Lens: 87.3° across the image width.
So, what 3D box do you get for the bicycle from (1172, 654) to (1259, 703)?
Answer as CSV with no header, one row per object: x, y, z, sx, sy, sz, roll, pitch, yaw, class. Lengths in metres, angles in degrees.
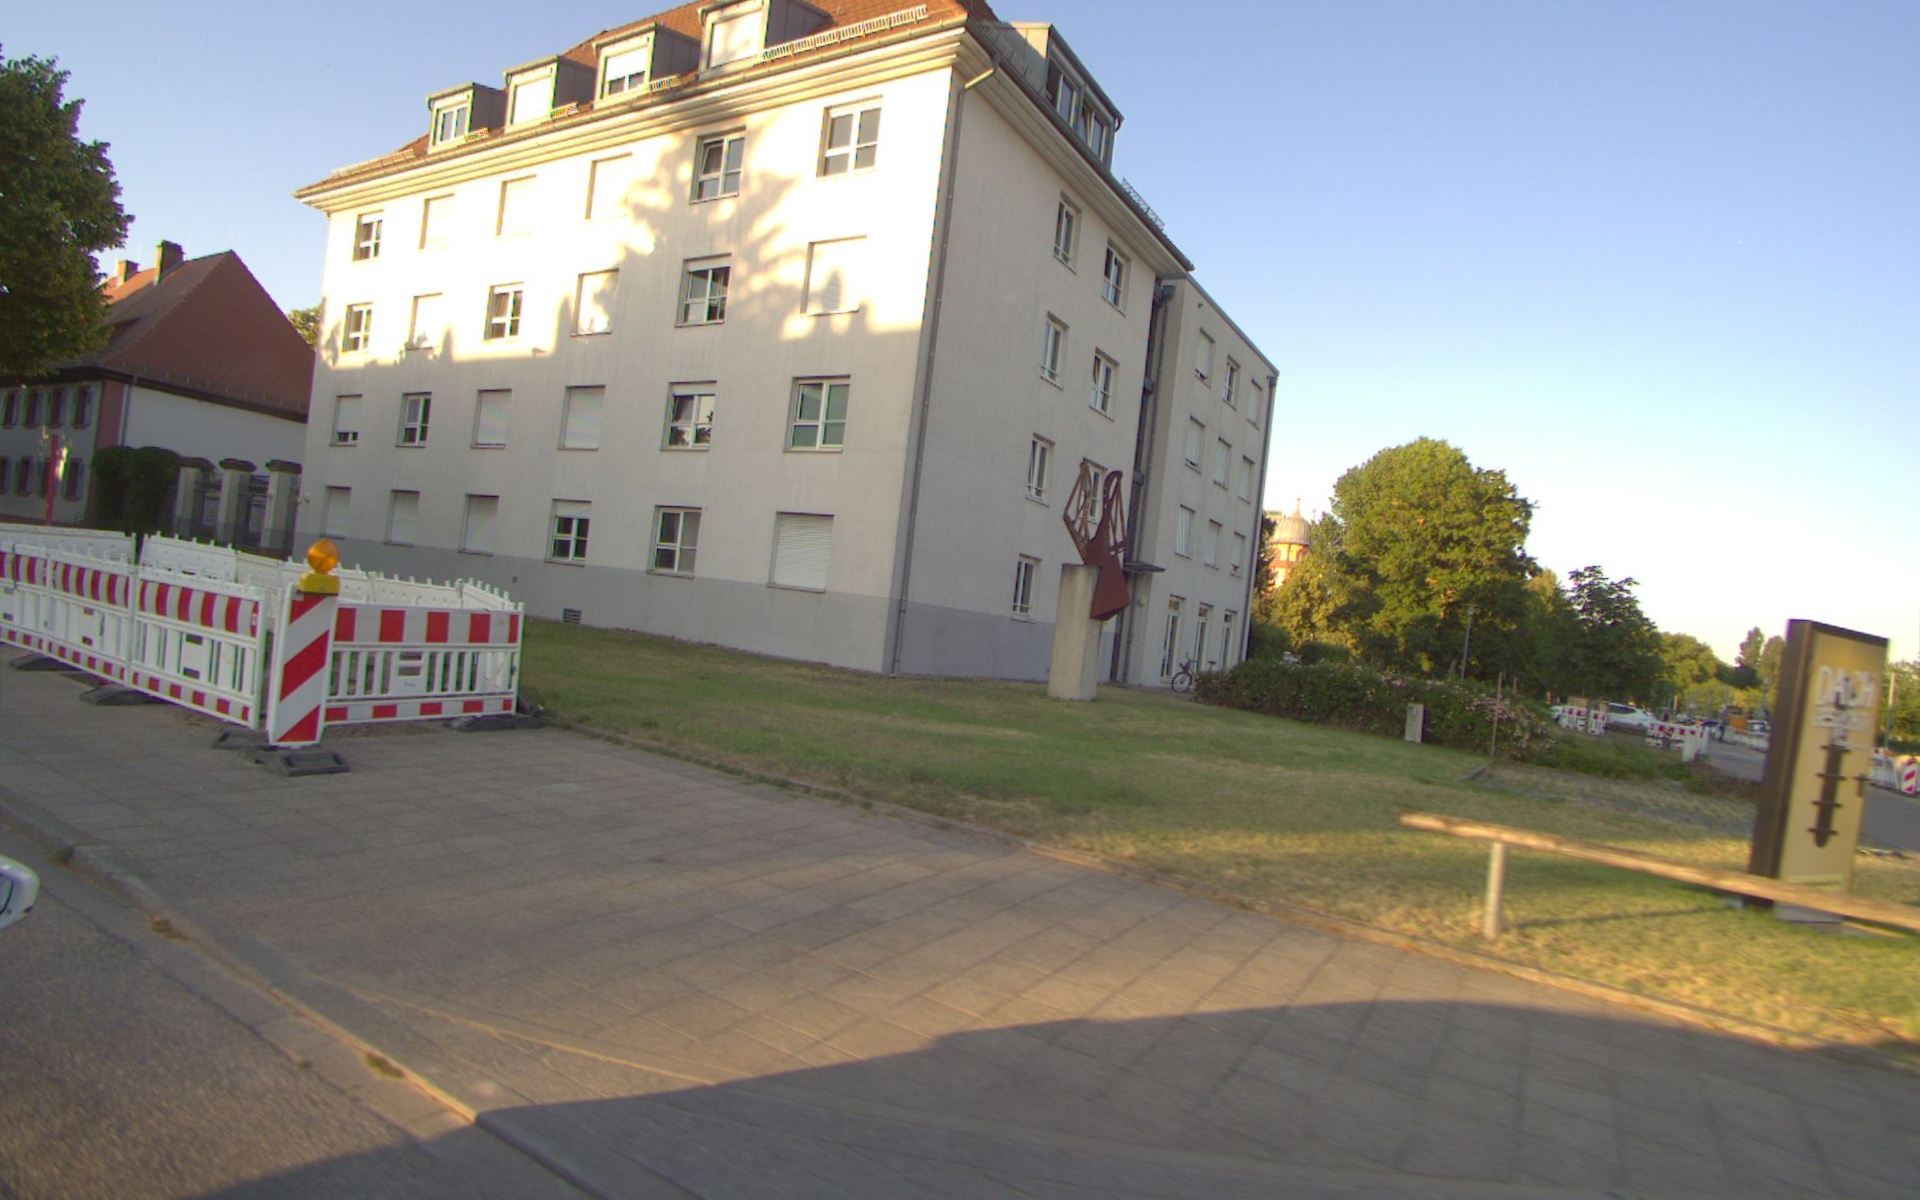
7.144,2.189,28.182,2.164,1.103,0.690,5,-1,32,bicycle

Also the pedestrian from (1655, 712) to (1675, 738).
46.103,8.174,65.785,0.826,1.546,1.038,6,-1,30,pedestrian

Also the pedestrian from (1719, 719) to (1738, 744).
51.268,8.738,67.107,0.786,1.546,0.626,6,-1,29,pedestrian

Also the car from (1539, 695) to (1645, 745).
30.469,5.754,48.671,4.125,1.779,1.728,6,-1,31,car

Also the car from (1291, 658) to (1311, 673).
41.966,8.092,123.820,1.746,1.583,4.266,6,-1,26,car

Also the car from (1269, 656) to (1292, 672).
36.371,7.241,114.053,1.746,1.583,4.266,6,-1,26,car

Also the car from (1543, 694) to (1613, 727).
44.554,7.966,72.597,4.125,1.779,1.728,6,-1,31,car

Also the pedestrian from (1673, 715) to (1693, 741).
46.873,8.284,65.227,0.826,1.546,1.038,6,-1,30,pedestrian

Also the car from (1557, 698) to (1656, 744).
33.924,6.326,52.929,4.125,1.779,1.728,6,-1,31,car
